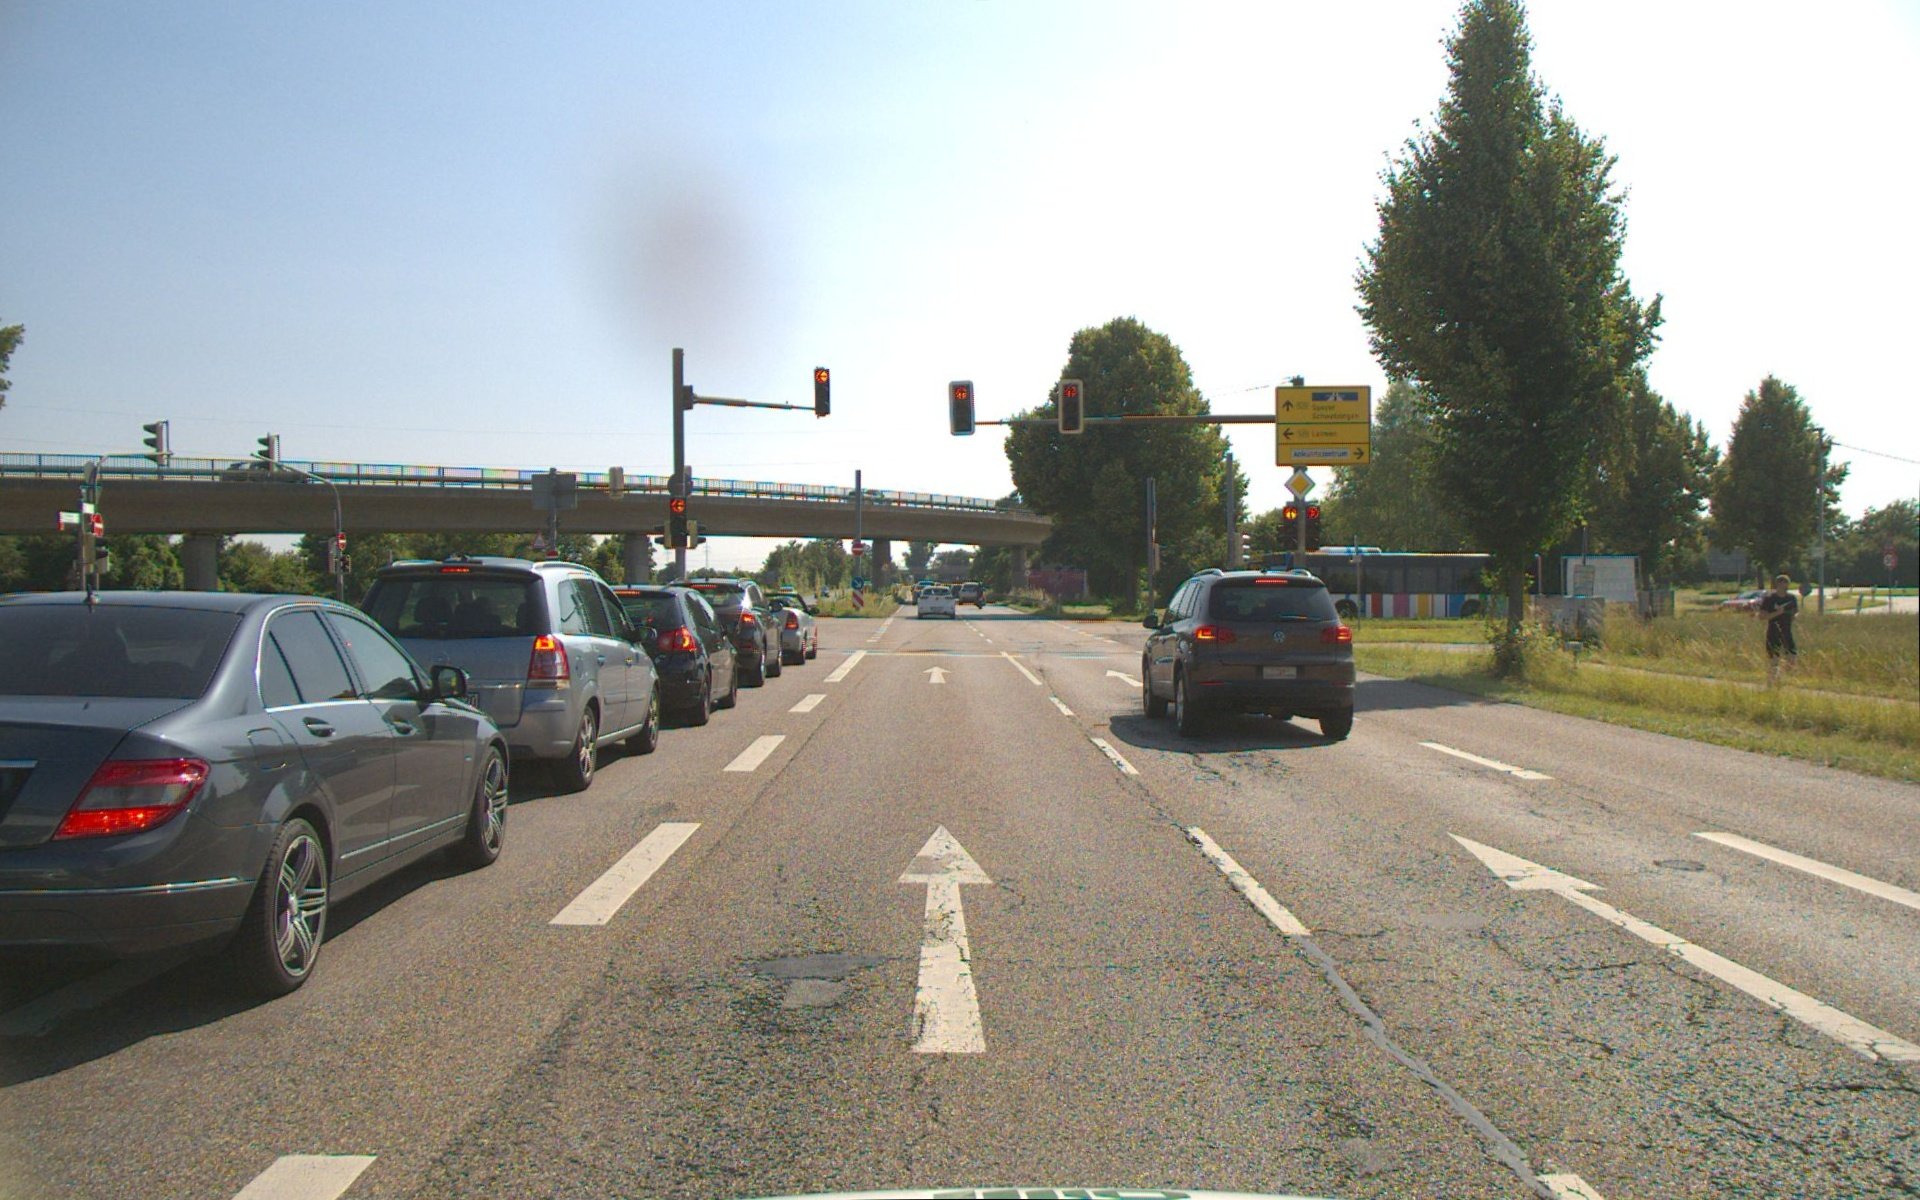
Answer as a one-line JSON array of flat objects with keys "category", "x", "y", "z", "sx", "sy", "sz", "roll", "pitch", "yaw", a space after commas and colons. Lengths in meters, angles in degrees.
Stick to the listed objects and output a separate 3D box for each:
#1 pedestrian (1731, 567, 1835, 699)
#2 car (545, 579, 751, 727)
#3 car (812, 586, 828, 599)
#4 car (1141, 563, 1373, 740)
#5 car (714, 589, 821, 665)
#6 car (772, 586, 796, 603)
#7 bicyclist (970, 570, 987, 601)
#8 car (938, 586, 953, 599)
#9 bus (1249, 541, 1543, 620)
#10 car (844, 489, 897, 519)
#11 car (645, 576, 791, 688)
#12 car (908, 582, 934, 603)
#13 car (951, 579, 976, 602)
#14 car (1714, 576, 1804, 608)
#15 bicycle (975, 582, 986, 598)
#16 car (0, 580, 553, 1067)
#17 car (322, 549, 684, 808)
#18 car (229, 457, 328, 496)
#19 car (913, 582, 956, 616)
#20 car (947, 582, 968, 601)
[{"category": "pedestrian", "x": 12.036, "y": 0.467, "z": 24.212, "sx": 0.883, "sy": 1.871, "sz": 1.194, "roll": -1, "pitch": 1, "yaw": -3}, {"category": "car", "x": -3.435, "y": 0.516, "z": 18.899, "sx": 1.632, "sy": 1.500, "sz": 4.097, "roll": 0, "pitch": 1, "yaw": -1}, {"category": "car", "x": -17.027, "y": -0.932, "z": 201.580, "sx": 1.582, "sy": 1.467, "sz": 3.775, "roll": -3, "pitch": 0, "yaw": -1}, {"category": "car", "x": 3.117, "y": 0.486, "z": 18.148, "sx": 1.720, "sy": 1.684, "sz": 4.146, "roll": 1, "pitch": 0, "yaw": -1}, {"category": "car", "x": -3.665, "y": 0.476, "z": 32.050, "sx": 1.639, "sy": 1.358, "sz": 4.097, "roll": 0, "pitch": 1, "yaw": -1}, {"category": "car", "x": -16.926, "y": -0.547, "z": 159.204, "sx": 1.845, "sy": 1.541, "sz": 4.146, "roll": -3, "pitch": 0, "yaw": -2}, {"category": "bicyclist", "x": 1.166, "y": -0.895, "z": 103.320, "sx": 0.987, "sy": 1.919, "sz": 1.326, "roll": -1, "pitch": 1, "yaw": -2}, {"category": "car", "x": -1.959, "y": -0.963, "z": 220.691, "sx": 1.953, "sy": 1.684, "sz": 3.999, "roll": 2, "pitch": 0, "yaw": -1}, {"category": "bus", "x": 17.786, "y": -0.807, "z": 67.344, "sx": 11.745, "sy": 2.927, "sz": 2.929, "roll": -1, "pitch": 0, "yaw": -16}, {"category": "car", "x": -6.489, "y": -6.972, "z": 120.245, "sx": 1.956, "sy": 1.870, "sz": 3.994, "roll": 2, "pitch": -1, "yaw": 28}, {"category": "car", "x": -3.625, "y": 0.426, "z": 25.384, "sx": 1.693, "sy": 1.574, "sz": 4.097, "roll": 0, "pitch": 1, "yaw": -1}, {"category": "car", "x": -2.850, "y": -0.574, "z": 121.150, "sx": 1.835, "sy": 1.518, "sz": 4.000, "roll": 0, "pitch": 1, "yaw": 0}, {"category": "car", "x": 0.263, "y": -0.695, "z": 124.871, "sx": 1.835, "sy": 1.668, "sz": 4.000, "roll": 1, "pitch": 1, "yaw": 0}, {"category": "car", "x": 37.992, "y": -0.398, "z": 78.627, "sx": 3.933, "sy": 1.422, "sz": 1.669, "roll": -1, "pitch": 1, "yaw": -23}, {"category": "bicycle", "x": 1.263, "y": -0.621, "z": 103.161, "sx": 0.588, "sy": 1.000, "sz": 2.360, "roll": -1, "pitch": 1, "yaw": -1}, {"category": "car", "x": -3.130, "y": 0.651, "z": 7.168, "sx": 1.679, "sy": 1.434, "sz": 4.355, "roll": 1, "pitch": 1, "yaw": -1}, {"category": "car", "x": -3.397, "y": 0.493, "z": 13.174, "sx": 1.706, "sy": 1.701, "sz": 4.356, "roll": -1, "pitch": 1, "yaw": -1}, {"category": "car", "x": -32.753, "y": -5.905, "z": 79.557, "sx": 1.962, "sy": 1.512, "sz": 3.980, "roll": 1, "pitch": -1, "yaw": 39}, {"category": "car", "x": -1.129, "y": -0.066, "z": 74.823, "sx": 1.813, "sy": 1.486, "sz": 4.000, "roll": 1, "pitch": 1, "yaw": 0}, {"category": "car", "x": -0.245, "y": -0.816, "z": 161.112, "sx": 1.953, "sy": 1.660, "sz": 3.999, "roll": 2, "pitch": 0, "yaw": -1}]
